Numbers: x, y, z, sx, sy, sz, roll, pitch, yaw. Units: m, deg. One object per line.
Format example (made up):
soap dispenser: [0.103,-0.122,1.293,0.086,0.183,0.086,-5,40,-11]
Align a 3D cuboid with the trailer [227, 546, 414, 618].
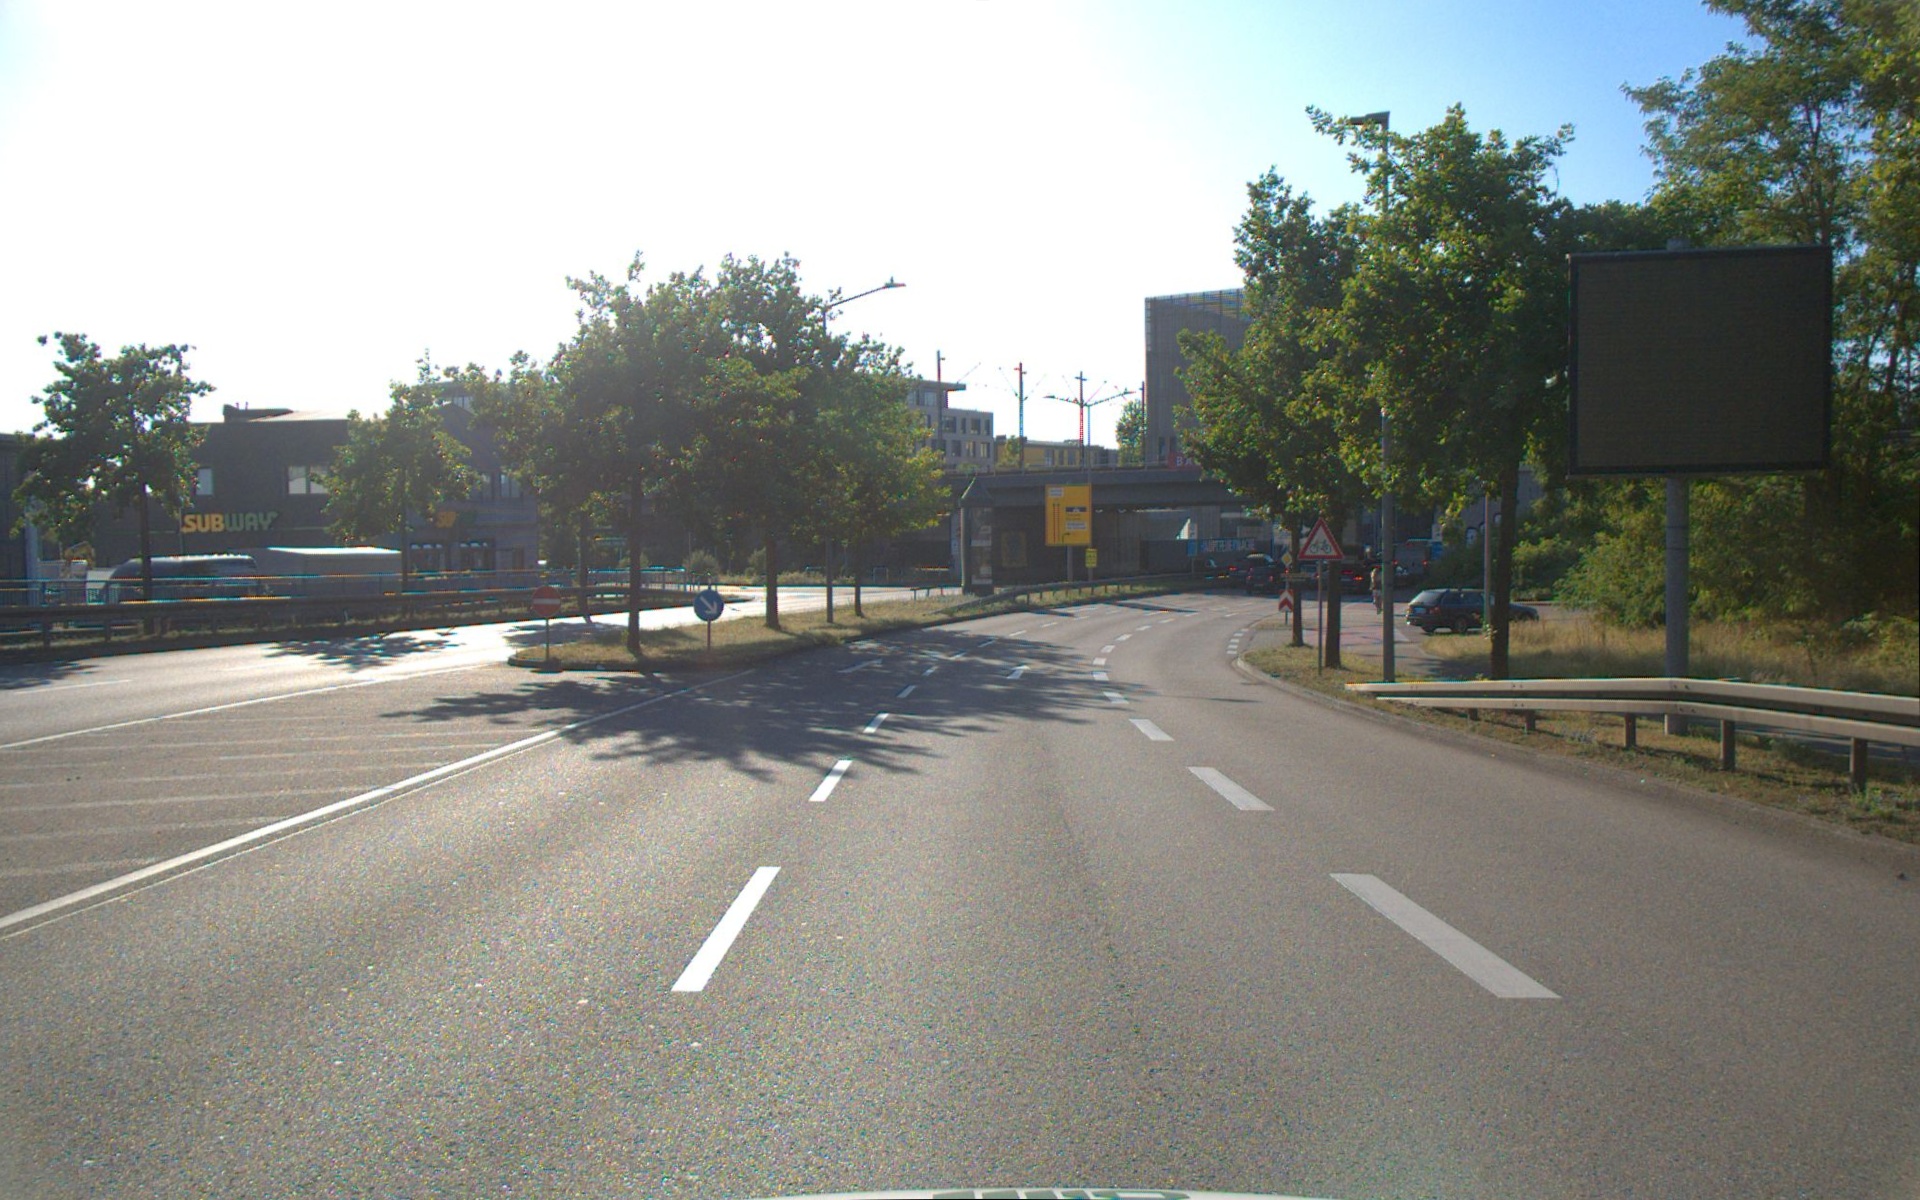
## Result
trailer: [-19.017,-0.567,49.647,2.368,2.004,6.611,0,1,7]

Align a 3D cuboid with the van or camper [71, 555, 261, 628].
van or camper: [-19.796,-0.254,41.520,1.951,1.715,4.964,0,1,6]

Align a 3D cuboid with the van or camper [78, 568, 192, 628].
van or camper: [-28.022,-0.071,56.140,4.149,1.959,1.990,0,0,39]

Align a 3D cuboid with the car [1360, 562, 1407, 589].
car: [24.931,-1.464,97.372,1.739,1.521,3.825,0,1,29]

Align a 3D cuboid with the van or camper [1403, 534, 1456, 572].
van or camper: [33.646,-3.377,118.480,1.959,2.615,5.900,1,2,34]

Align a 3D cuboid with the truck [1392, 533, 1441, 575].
truck: [28.878,-2.863,104.505,2.071,2.563,4.394,0,1,28]

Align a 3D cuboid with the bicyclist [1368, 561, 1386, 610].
bicyclist: [16.821,-0.596,66.719,0.667,1.940,0.834,1,1,13]

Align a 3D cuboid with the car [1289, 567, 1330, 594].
car: [20.248,-1.135,95.726,1.517,1.448,3.415,-3,1,26]

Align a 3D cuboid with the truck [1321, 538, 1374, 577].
truck: [26.591,-2.918,113.344,1.990,2.601,5.527,1,2,30]

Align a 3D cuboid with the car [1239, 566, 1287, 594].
car: [16.328,-1.113,88.966,1.550,1.433,3.829,2,2,26]

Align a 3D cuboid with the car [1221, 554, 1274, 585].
car: [16.673,-1.801,95.778,1.794,1.768,4.456,1,2,27]

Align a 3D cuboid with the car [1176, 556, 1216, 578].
car: [16.788,-2.308,117.421,1.707,1.488,3.762,1,1,26]

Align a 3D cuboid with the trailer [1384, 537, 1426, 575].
trailer: [30.633,-3.021,113.823,1.830,2.508,3.823,0,1,31]

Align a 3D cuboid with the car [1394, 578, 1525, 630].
car: [16.769,0.138,55.513,3.941,1.534,1.982,-3,0,-28]

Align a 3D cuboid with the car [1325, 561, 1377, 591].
car: [21.525,-1.351,90.994,1.707,1.479,4.601,1,4,27]

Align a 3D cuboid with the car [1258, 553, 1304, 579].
car: [19.754,-2.102,101.742,1.805,1.465,3.672,-3,0,27]

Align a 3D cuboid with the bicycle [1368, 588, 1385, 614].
bicycle: [16.820,0.038,66.783,0.566,0.980,2.889,0,1,12]

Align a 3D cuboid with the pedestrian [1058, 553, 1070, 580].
pedestrian: [7.704,-2.466,122.188,0.681,1.936,0.663,1,2,32]
